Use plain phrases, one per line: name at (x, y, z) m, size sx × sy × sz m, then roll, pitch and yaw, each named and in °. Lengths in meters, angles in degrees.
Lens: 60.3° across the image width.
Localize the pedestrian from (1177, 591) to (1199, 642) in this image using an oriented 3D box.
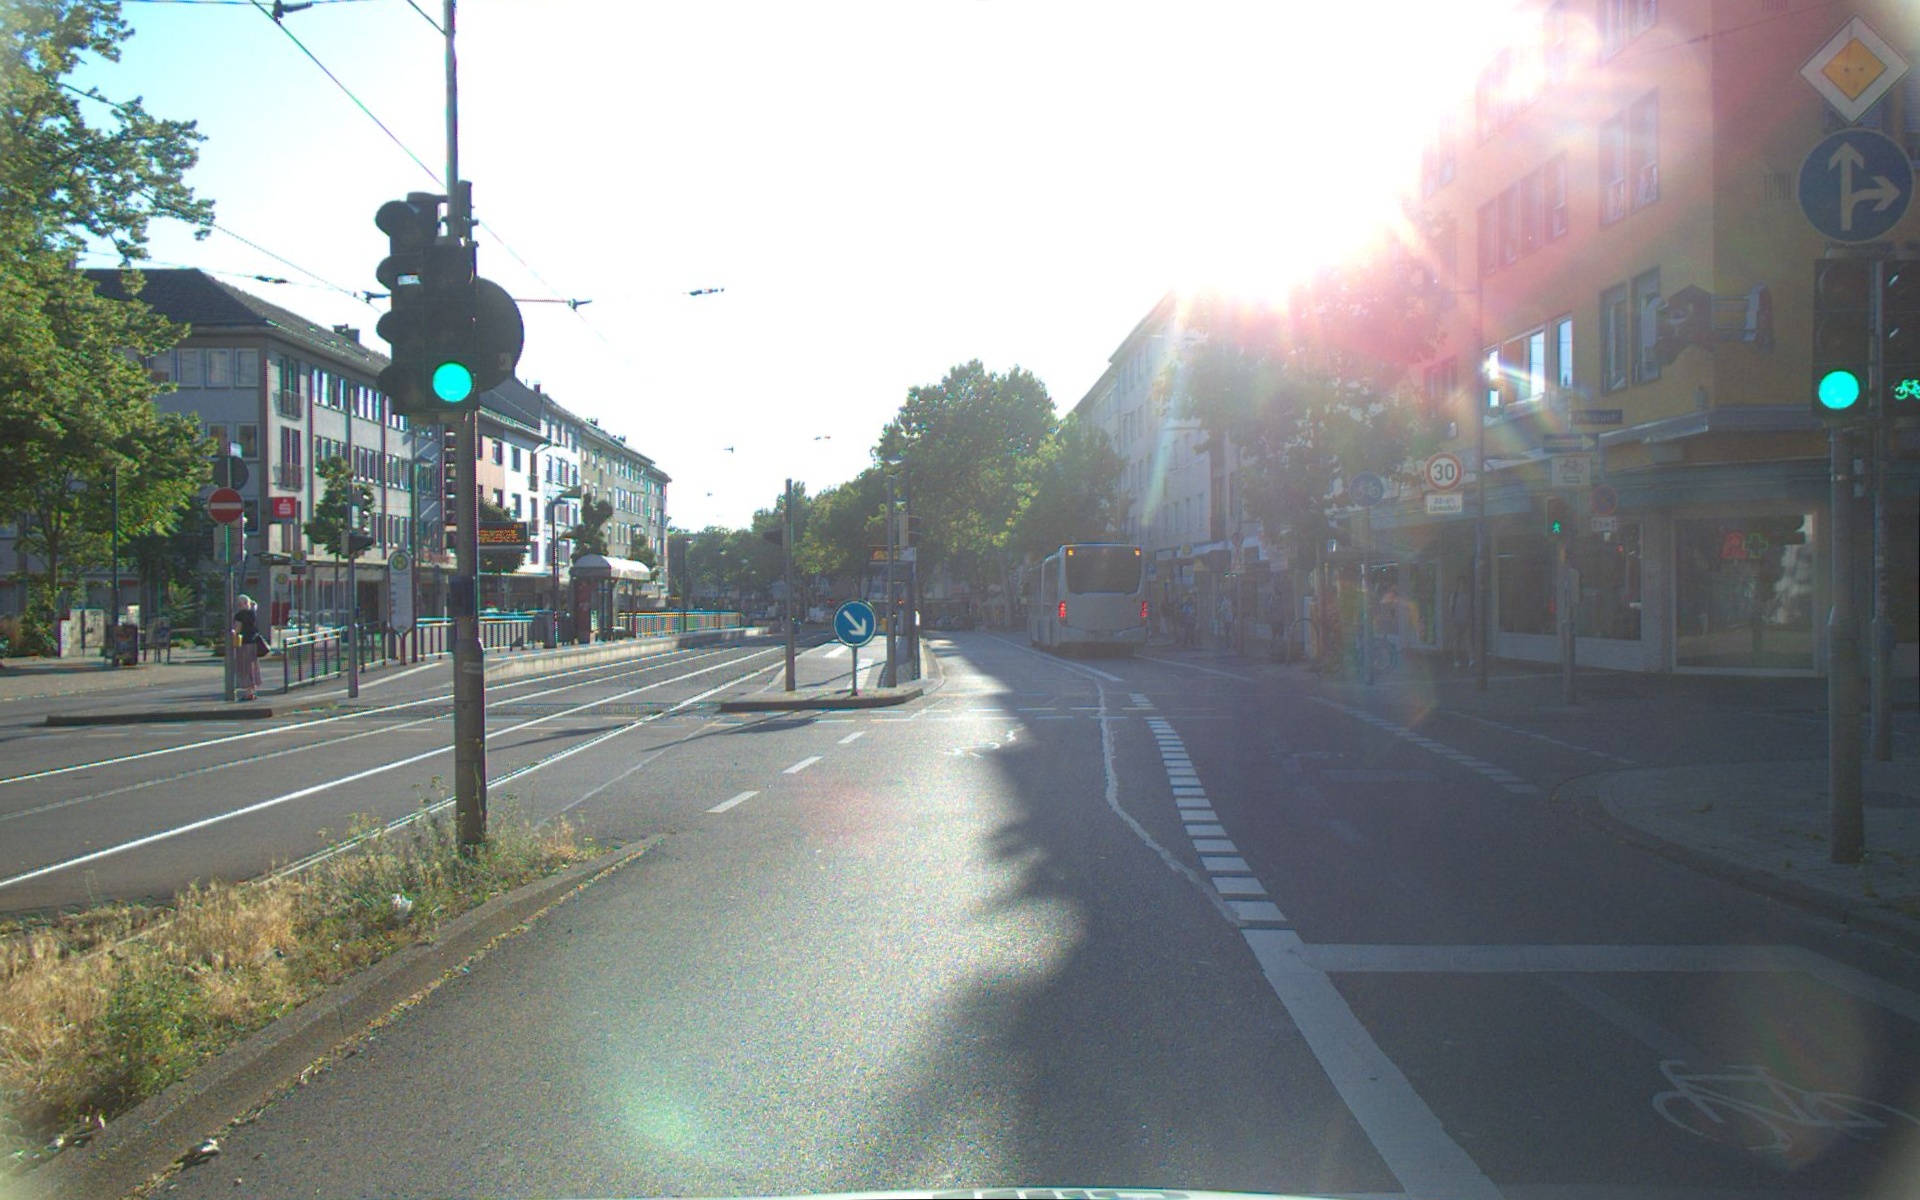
pedestrian at (7.336, 0.526, 53.301) m, size 0.597 × 1.606 × 0.851 m, roll -1°, pitch 0°, yaw 2°

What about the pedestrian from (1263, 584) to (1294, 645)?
pedestrian at (9.304, 0.433, 48.384) m, size 0.709 × 1.753 × 0.766 m, roll -1°, pitch -1°, yaw -2°

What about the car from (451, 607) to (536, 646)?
car at (-21.739, 1.217, 77.124) m, size 1.735 × 1.709 × 3.497 m, roll -1°, pitch 1°, yaw 36°

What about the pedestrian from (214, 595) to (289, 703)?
pedestrian at (-12.050, 0.820, 28.138) m, size 0.900 × 1.791 × 0.832 m, roll -1°, pitch -1°, yaw 0°

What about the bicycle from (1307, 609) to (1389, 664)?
bicycle at (7.494, 0.696, 31.952) m, size 1.453 × 1.026 × 0.454 m, roll -1°, pitch 0°, yaw -5°

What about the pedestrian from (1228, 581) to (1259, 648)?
pedestrian at (7.974, 0.410, 46.576) m, size 0.709 × 1.838 × 0.766 m, roll -1°, pitch -1°, yaw -2°

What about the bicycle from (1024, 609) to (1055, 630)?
bicycle at (4.848, 1.195, 100.979) m, size 1.848 × 1.096 × 0.754 m, roll -5°, pitch 0°, yaw 1°

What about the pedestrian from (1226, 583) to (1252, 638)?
pedestrian at (9.763, 0.369, 57.873) m, size 0.709 × 1.872 × 0.766 m, roll -1°, pitch -1°, yaw -2°

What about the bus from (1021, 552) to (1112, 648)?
bus at (3.708, 0.010, 59.412) m, size 2.641 × 3.173 × 9.068 m, roll 0°, pitch 0°, yaw 0°

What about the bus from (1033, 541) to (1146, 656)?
bus at (3.770, -0.019, 50.162) m, size 2.641 × 3.173 × 9.380 m, roll 0°, pitch 0°, yaw 0°

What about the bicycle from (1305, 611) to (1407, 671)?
bicycle at (7.482, 0.776, 31.281) m, size 1.763 × 1.026 × 0.540 m, roll -3°, pitch 0°, yaw -5°

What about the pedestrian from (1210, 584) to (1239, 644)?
pedestrian at (7.997, 0.429, 50.112) m, size 0.709 × 1.810 × 0.766 m, roll -1°, pitch -1°, yaw -2°

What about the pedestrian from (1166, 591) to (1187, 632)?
pedestrian at (9.038, 0.477, 69.038) m, size 0.709 × 1.661 × 0.766 m, roll -1°, pitch 0°, yaw -2°

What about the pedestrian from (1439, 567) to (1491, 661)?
pedestrian at (9.819, 0.275, 32.174) m, size 0.728 × 1.811 × 0.894 m, roll 0°, pitch -1°, yaw -2°
